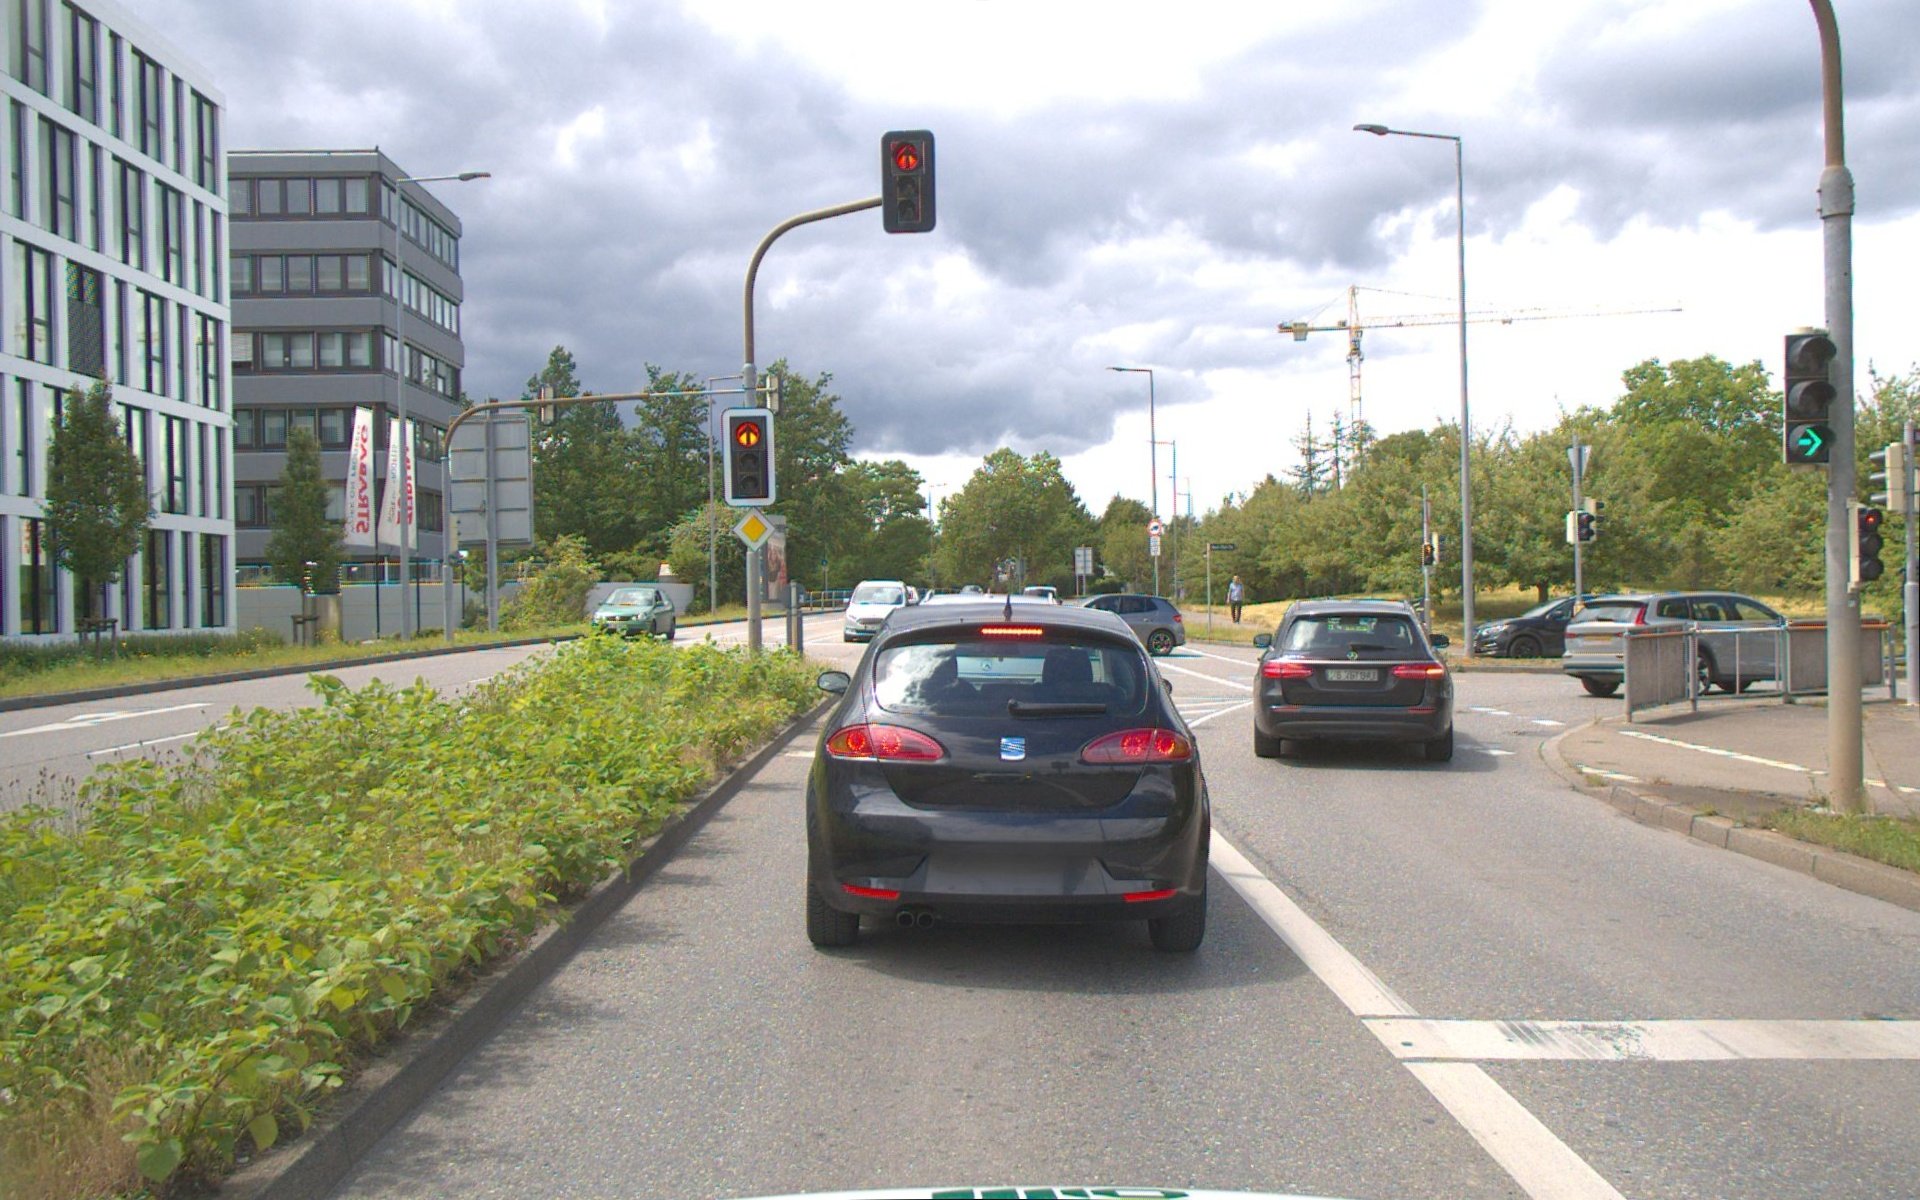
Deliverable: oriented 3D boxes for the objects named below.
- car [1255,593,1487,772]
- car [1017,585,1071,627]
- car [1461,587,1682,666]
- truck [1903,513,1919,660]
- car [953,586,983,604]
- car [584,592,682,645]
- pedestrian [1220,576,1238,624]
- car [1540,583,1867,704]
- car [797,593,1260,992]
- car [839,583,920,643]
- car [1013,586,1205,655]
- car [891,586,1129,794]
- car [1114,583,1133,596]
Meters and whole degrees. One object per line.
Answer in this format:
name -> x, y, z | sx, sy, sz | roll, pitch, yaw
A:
car -> 3.979, 0.707, 16.768 | 1.832, 1.466, 5.204 | -1, 1, 9
car -> 3.209, 0.222, 63.996 | 1.952, 1.557, 4.001 | 0, 1, 1
car -> 13.592, 0.577, 36.952 | 4.214, 1.644, 2.001 | -1, 0, 3
truck -> 25.045, -0.321, 39.483 | 3.902, 3.530, 2.001 | 0, 0, 6
car -> 0.654, -0.382, 130.077 | 1.951, 1.375, 4.003 | 0, 1, 7
car -> -9.000, 0.484, 45.810 | 1.953, 1.375, 3.999 | 0, 1, -1
pedestrian -> 9.989, -0.009, 61.452 | 0.547, 1.756, 0.588 | 0, 0, 0
car -> 10.889, 0.586, 24.232 | 4.369, 1.545, 1.857 | -2, 0, -22
car -> 0.235, 0.721, 8.020 | 1.737, 1.477, 3.582 | 0, 0, -1
car -> -2.251, 0.333, 47.355 | 1.952, 1.624, 4.001 | 0, 1, 2
car -> 3.539, 0.466, 39.741 | 4.225, 1.552, 1.996 | -1, 0, -9
car -> 0.308, 0.661, 14.272 | 1.738, 1.517, 3.580 | -1, 0, -3
car -> 18.148, -1.155, 183.424 | 1.951, 1.375, 4.003 | 0, 1, 7
